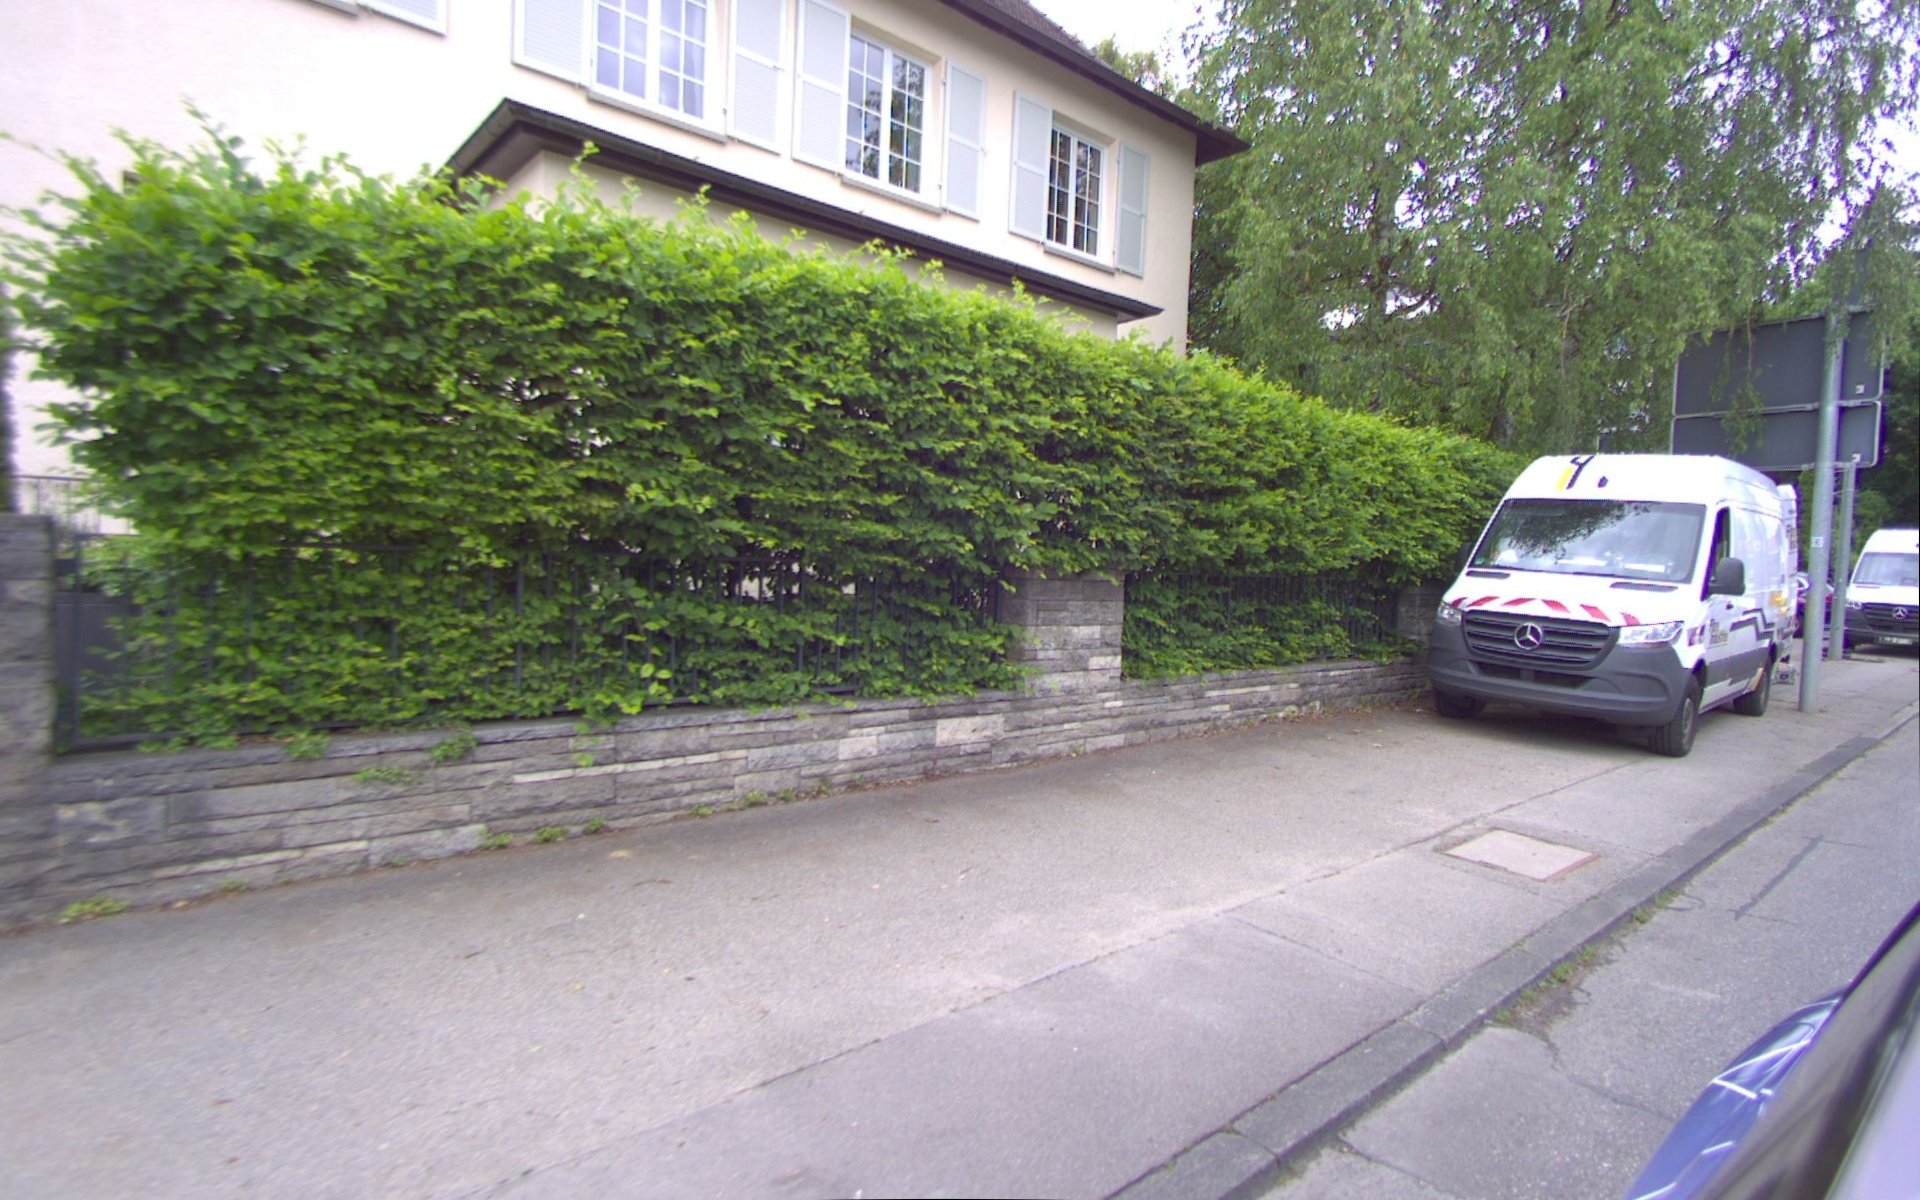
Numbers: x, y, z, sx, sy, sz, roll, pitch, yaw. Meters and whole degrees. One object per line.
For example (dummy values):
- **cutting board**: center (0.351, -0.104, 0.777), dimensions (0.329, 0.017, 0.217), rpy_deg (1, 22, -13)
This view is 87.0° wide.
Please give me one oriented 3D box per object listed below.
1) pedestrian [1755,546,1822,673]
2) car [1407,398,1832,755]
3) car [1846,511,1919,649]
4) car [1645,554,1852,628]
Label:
- **pedestrian**: center (12.539, 0.123, 15.314), dimensions (0.774, 1.853, 0.639), rpy_deg (-1, 3, -43)
- **car**: center (7.140, -0.295, 10.493), dimensions (6.570, 2.635, 2.093), rpy_deg (-1, 5, -43)
- **car**: center (20.690, -0.426, 21.402), dimensions (5.863, 2.634, 2.046), rpy_deg (-1, 4, -41)
- **car**: center (20.656, -0.288, 26.637), dimensions (1.827, 1.749, 3.995), rpy_deg (-1, 3, -40)
